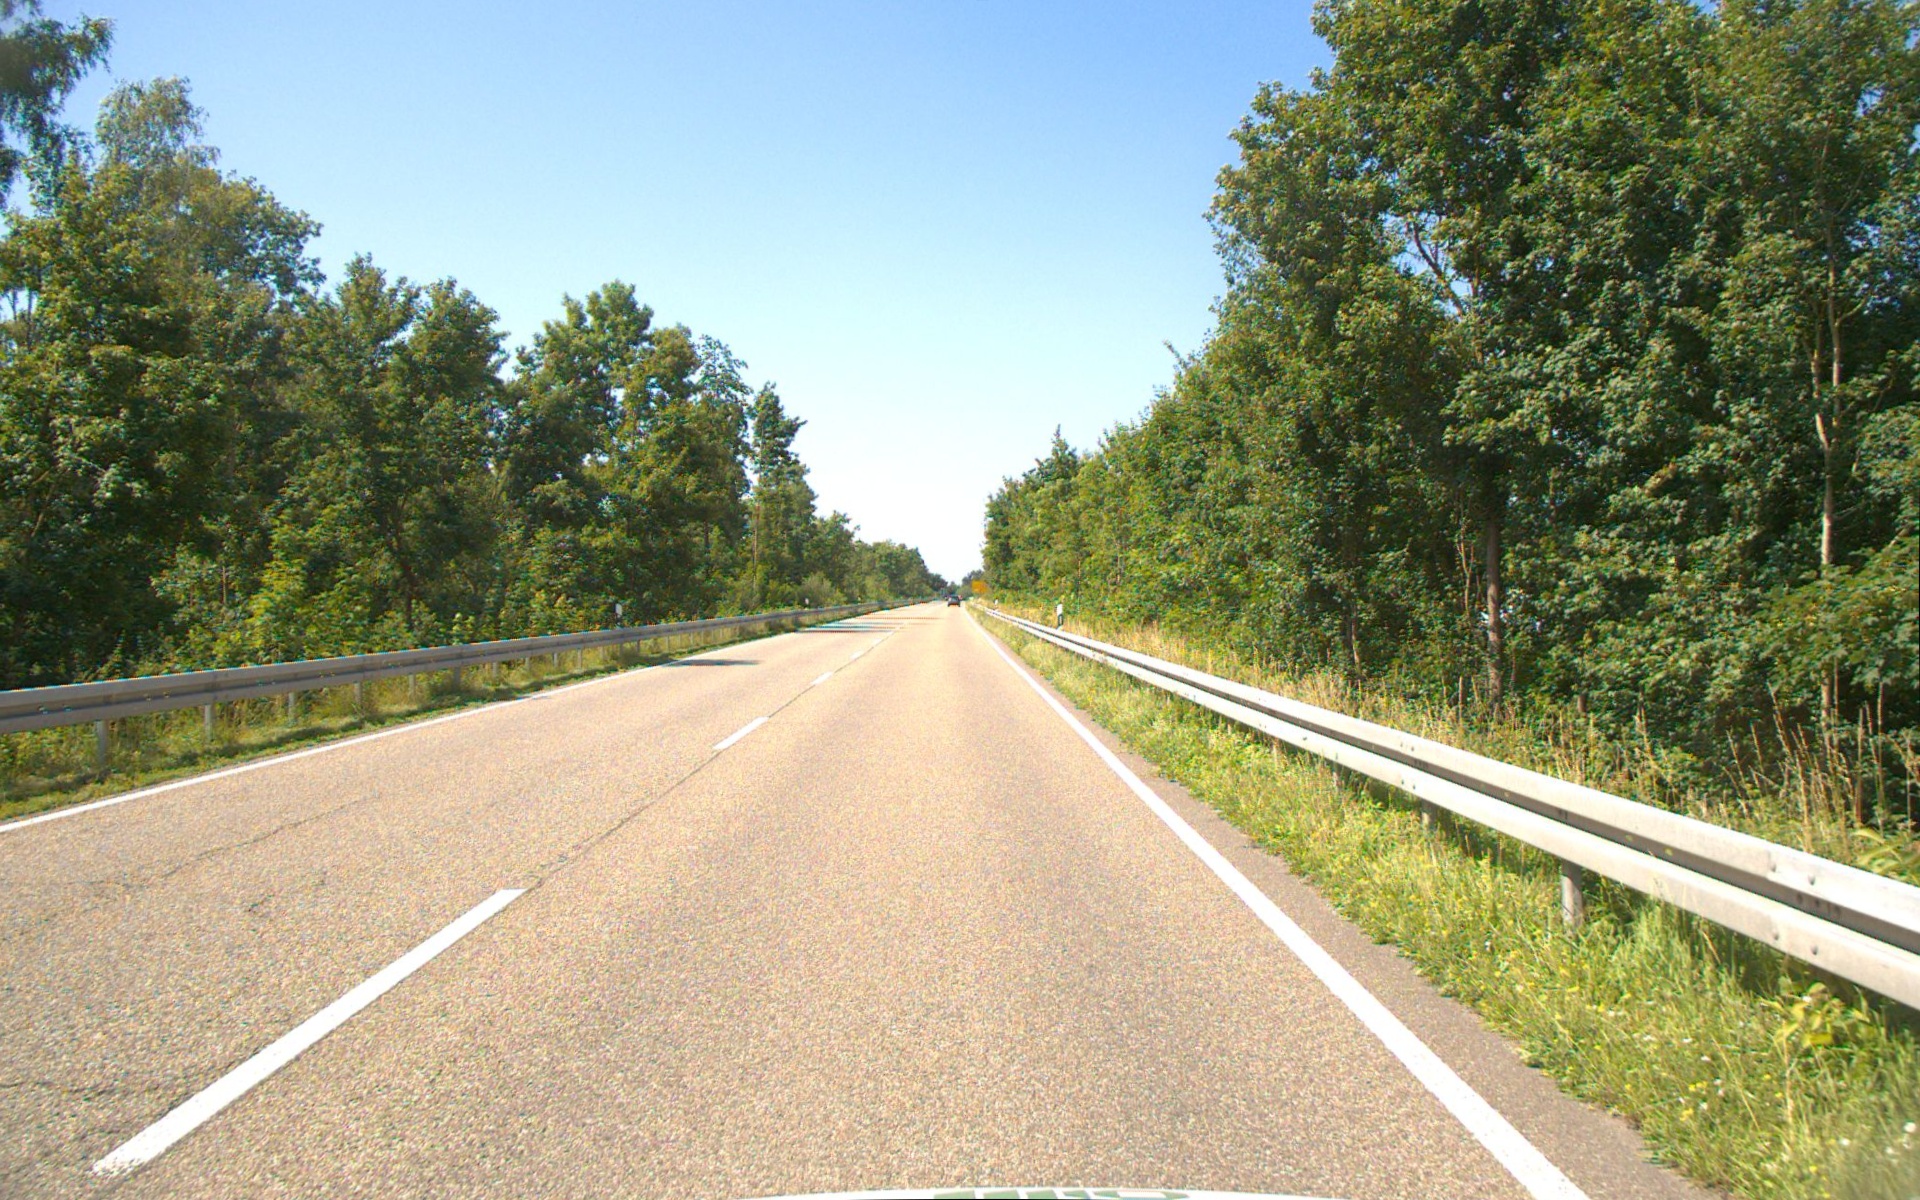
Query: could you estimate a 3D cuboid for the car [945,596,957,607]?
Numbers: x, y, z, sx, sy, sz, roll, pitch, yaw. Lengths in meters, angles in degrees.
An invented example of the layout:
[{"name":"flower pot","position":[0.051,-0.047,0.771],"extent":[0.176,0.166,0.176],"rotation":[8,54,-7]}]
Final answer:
[{"name":"car","position":[-1.255,0.185,232.460],"extent":[1.705,1.496,3.693],"rotation":[0,0,1]}]
